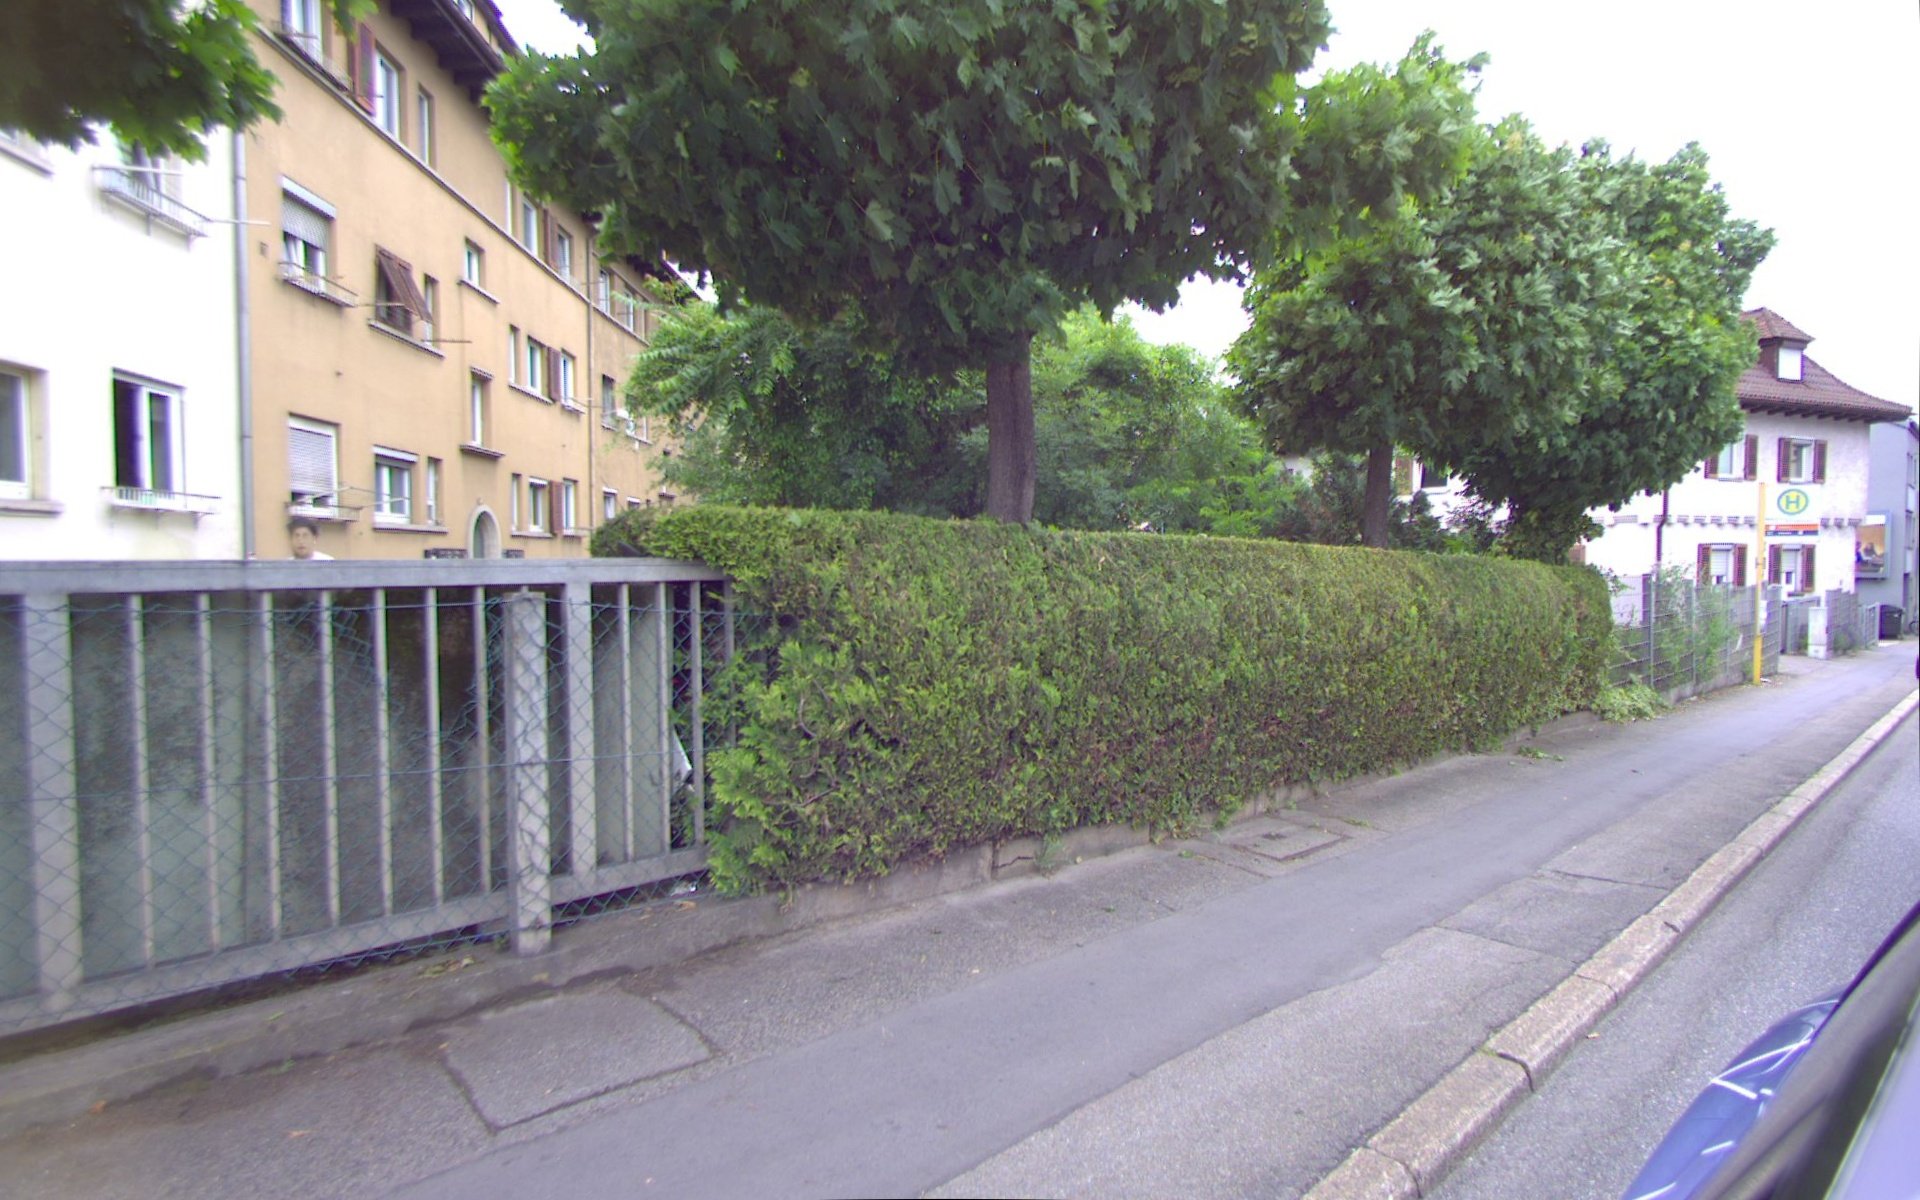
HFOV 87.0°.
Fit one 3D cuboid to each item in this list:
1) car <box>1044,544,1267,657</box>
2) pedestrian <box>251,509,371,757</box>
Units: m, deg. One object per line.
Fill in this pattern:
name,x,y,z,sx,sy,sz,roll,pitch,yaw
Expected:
car,3.752,-0.008,19.978,3.923,2.039,2.001,1,1,-1
pedestrian,-4.871,0.225,7.602,0.684,1.759,0.466,0,1,-44
